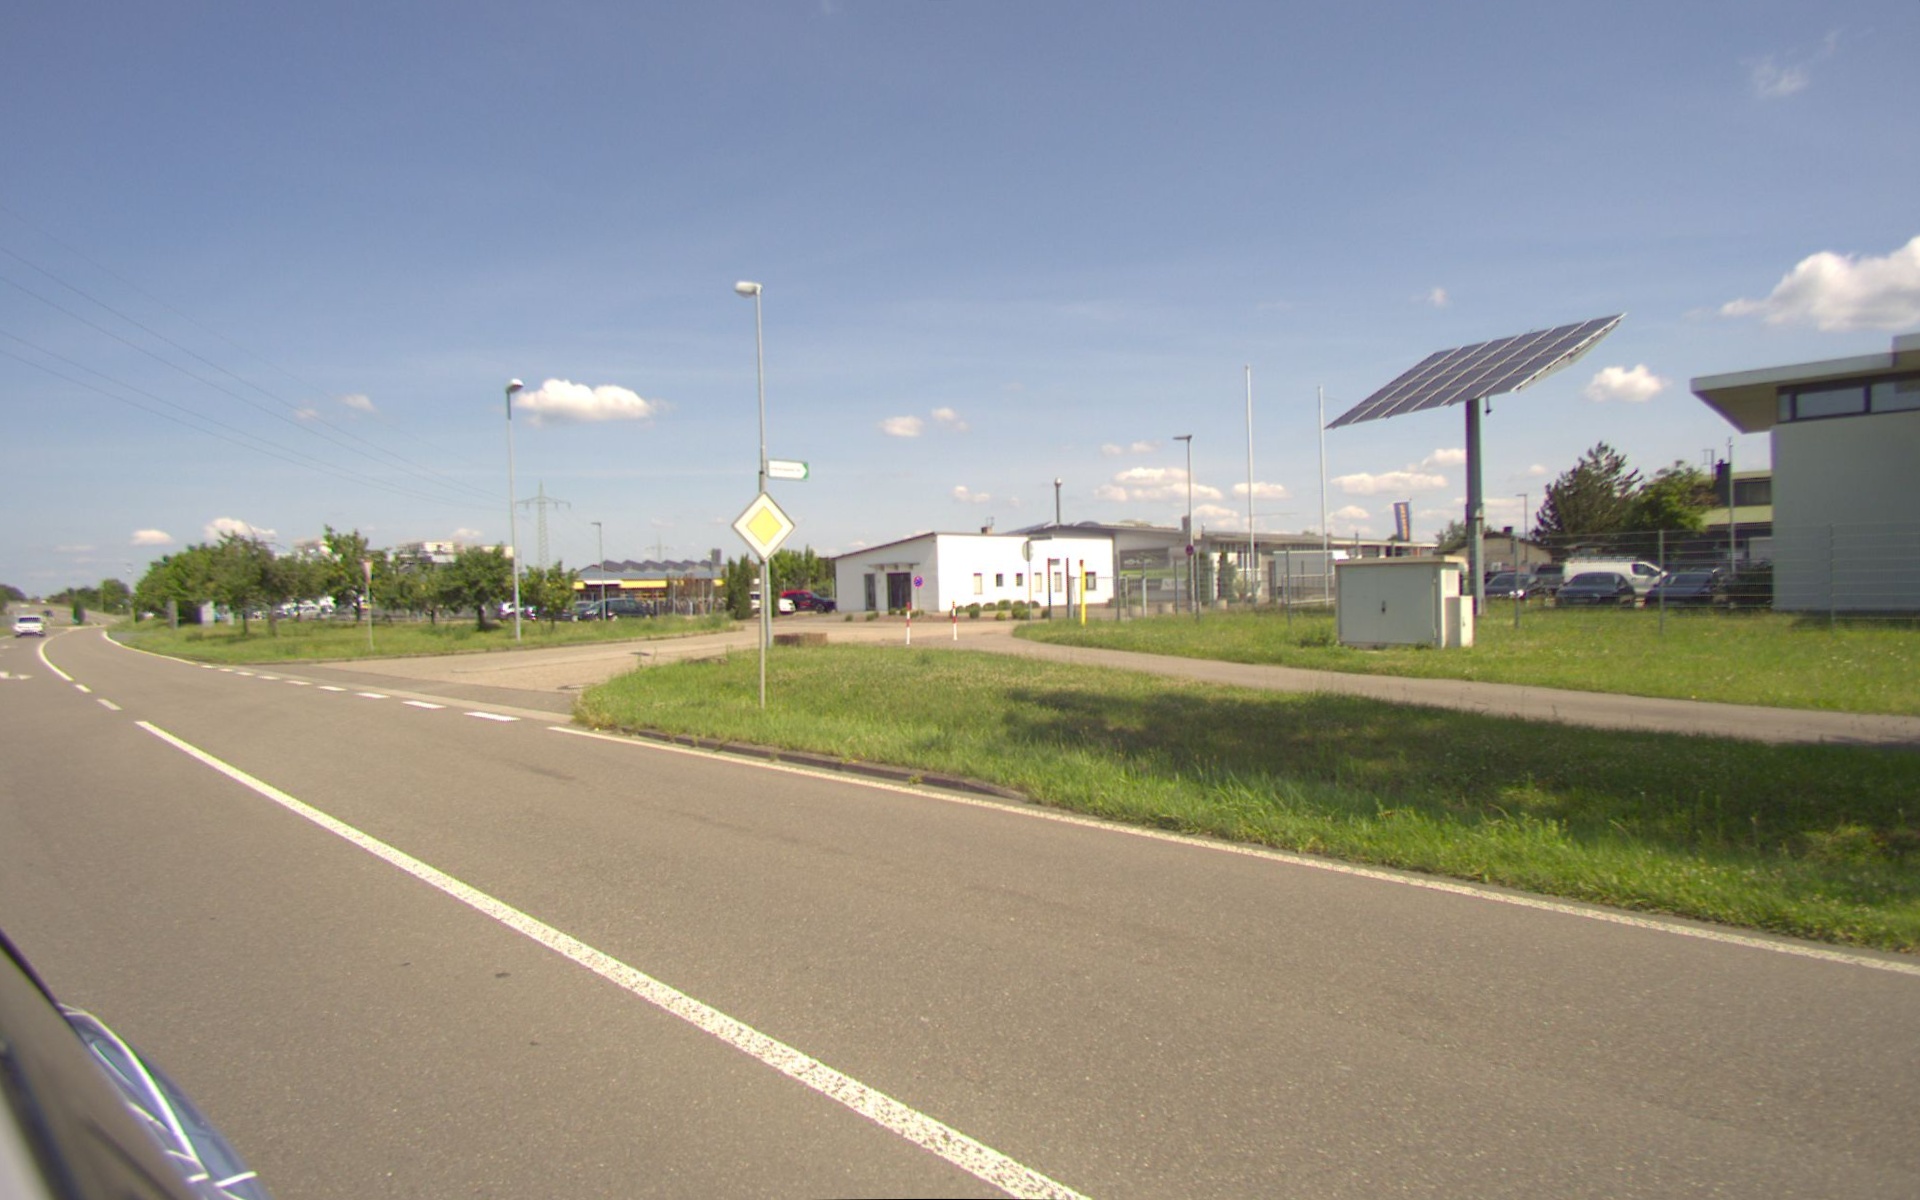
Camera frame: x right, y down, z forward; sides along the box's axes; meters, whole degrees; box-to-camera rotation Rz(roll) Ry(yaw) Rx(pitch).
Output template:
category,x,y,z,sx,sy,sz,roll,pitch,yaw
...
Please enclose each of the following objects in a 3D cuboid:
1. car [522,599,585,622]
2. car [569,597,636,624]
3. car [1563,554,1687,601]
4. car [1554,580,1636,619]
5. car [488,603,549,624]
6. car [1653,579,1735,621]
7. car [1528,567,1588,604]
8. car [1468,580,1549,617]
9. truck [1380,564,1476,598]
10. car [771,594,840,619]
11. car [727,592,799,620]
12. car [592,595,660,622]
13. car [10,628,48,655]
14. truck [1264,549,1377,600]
category,x,y,z,sx,sy,sz,roll,pitch,yaw
car,-29.993,0.772,74.708,1.666,1.567,3.944,-2,1,43
car,-24.906,0.713,70.500,1.858,1.652,3.944,-1,1,43
car,31.576,-1.068,48.138,4.736,2.029,1.974,-2,1,39
car,23.328,-0.041,37.107,1.804,1.253,3.943,-2,1,43
car,-34.749,1.065,79.666,2.000,1.539,3.943,-2,0,43
car,25.354,-0.005,34.901,1.804,1.253,3.943,-2,1,43
car,32.073,-0.792,54.198,1.999,1.862,3.945,-2,1,42
car,21.227,-0.063,39.107,1.804,1.253,3.943,-2,1,43
truck,40.280,-1.596,87.253,7.192,2.685,2.115,-2,1,44
car,-10.507,0.444,68.865,4.130,1.540,1.991,-2,1,14
car,-12.915,0.411,66.463,4.130,1.652,1.991,-2,1,14
car,-22.777,0.590,69.068,2.000,1.652,3.944,-1,1,43
car,-76.753,3.395,83.490,1.968,1.929,4.008,-2,1,-38
truck,25.095,-1.717,70.783,7.192,3.237,1.972,-2,1,44
